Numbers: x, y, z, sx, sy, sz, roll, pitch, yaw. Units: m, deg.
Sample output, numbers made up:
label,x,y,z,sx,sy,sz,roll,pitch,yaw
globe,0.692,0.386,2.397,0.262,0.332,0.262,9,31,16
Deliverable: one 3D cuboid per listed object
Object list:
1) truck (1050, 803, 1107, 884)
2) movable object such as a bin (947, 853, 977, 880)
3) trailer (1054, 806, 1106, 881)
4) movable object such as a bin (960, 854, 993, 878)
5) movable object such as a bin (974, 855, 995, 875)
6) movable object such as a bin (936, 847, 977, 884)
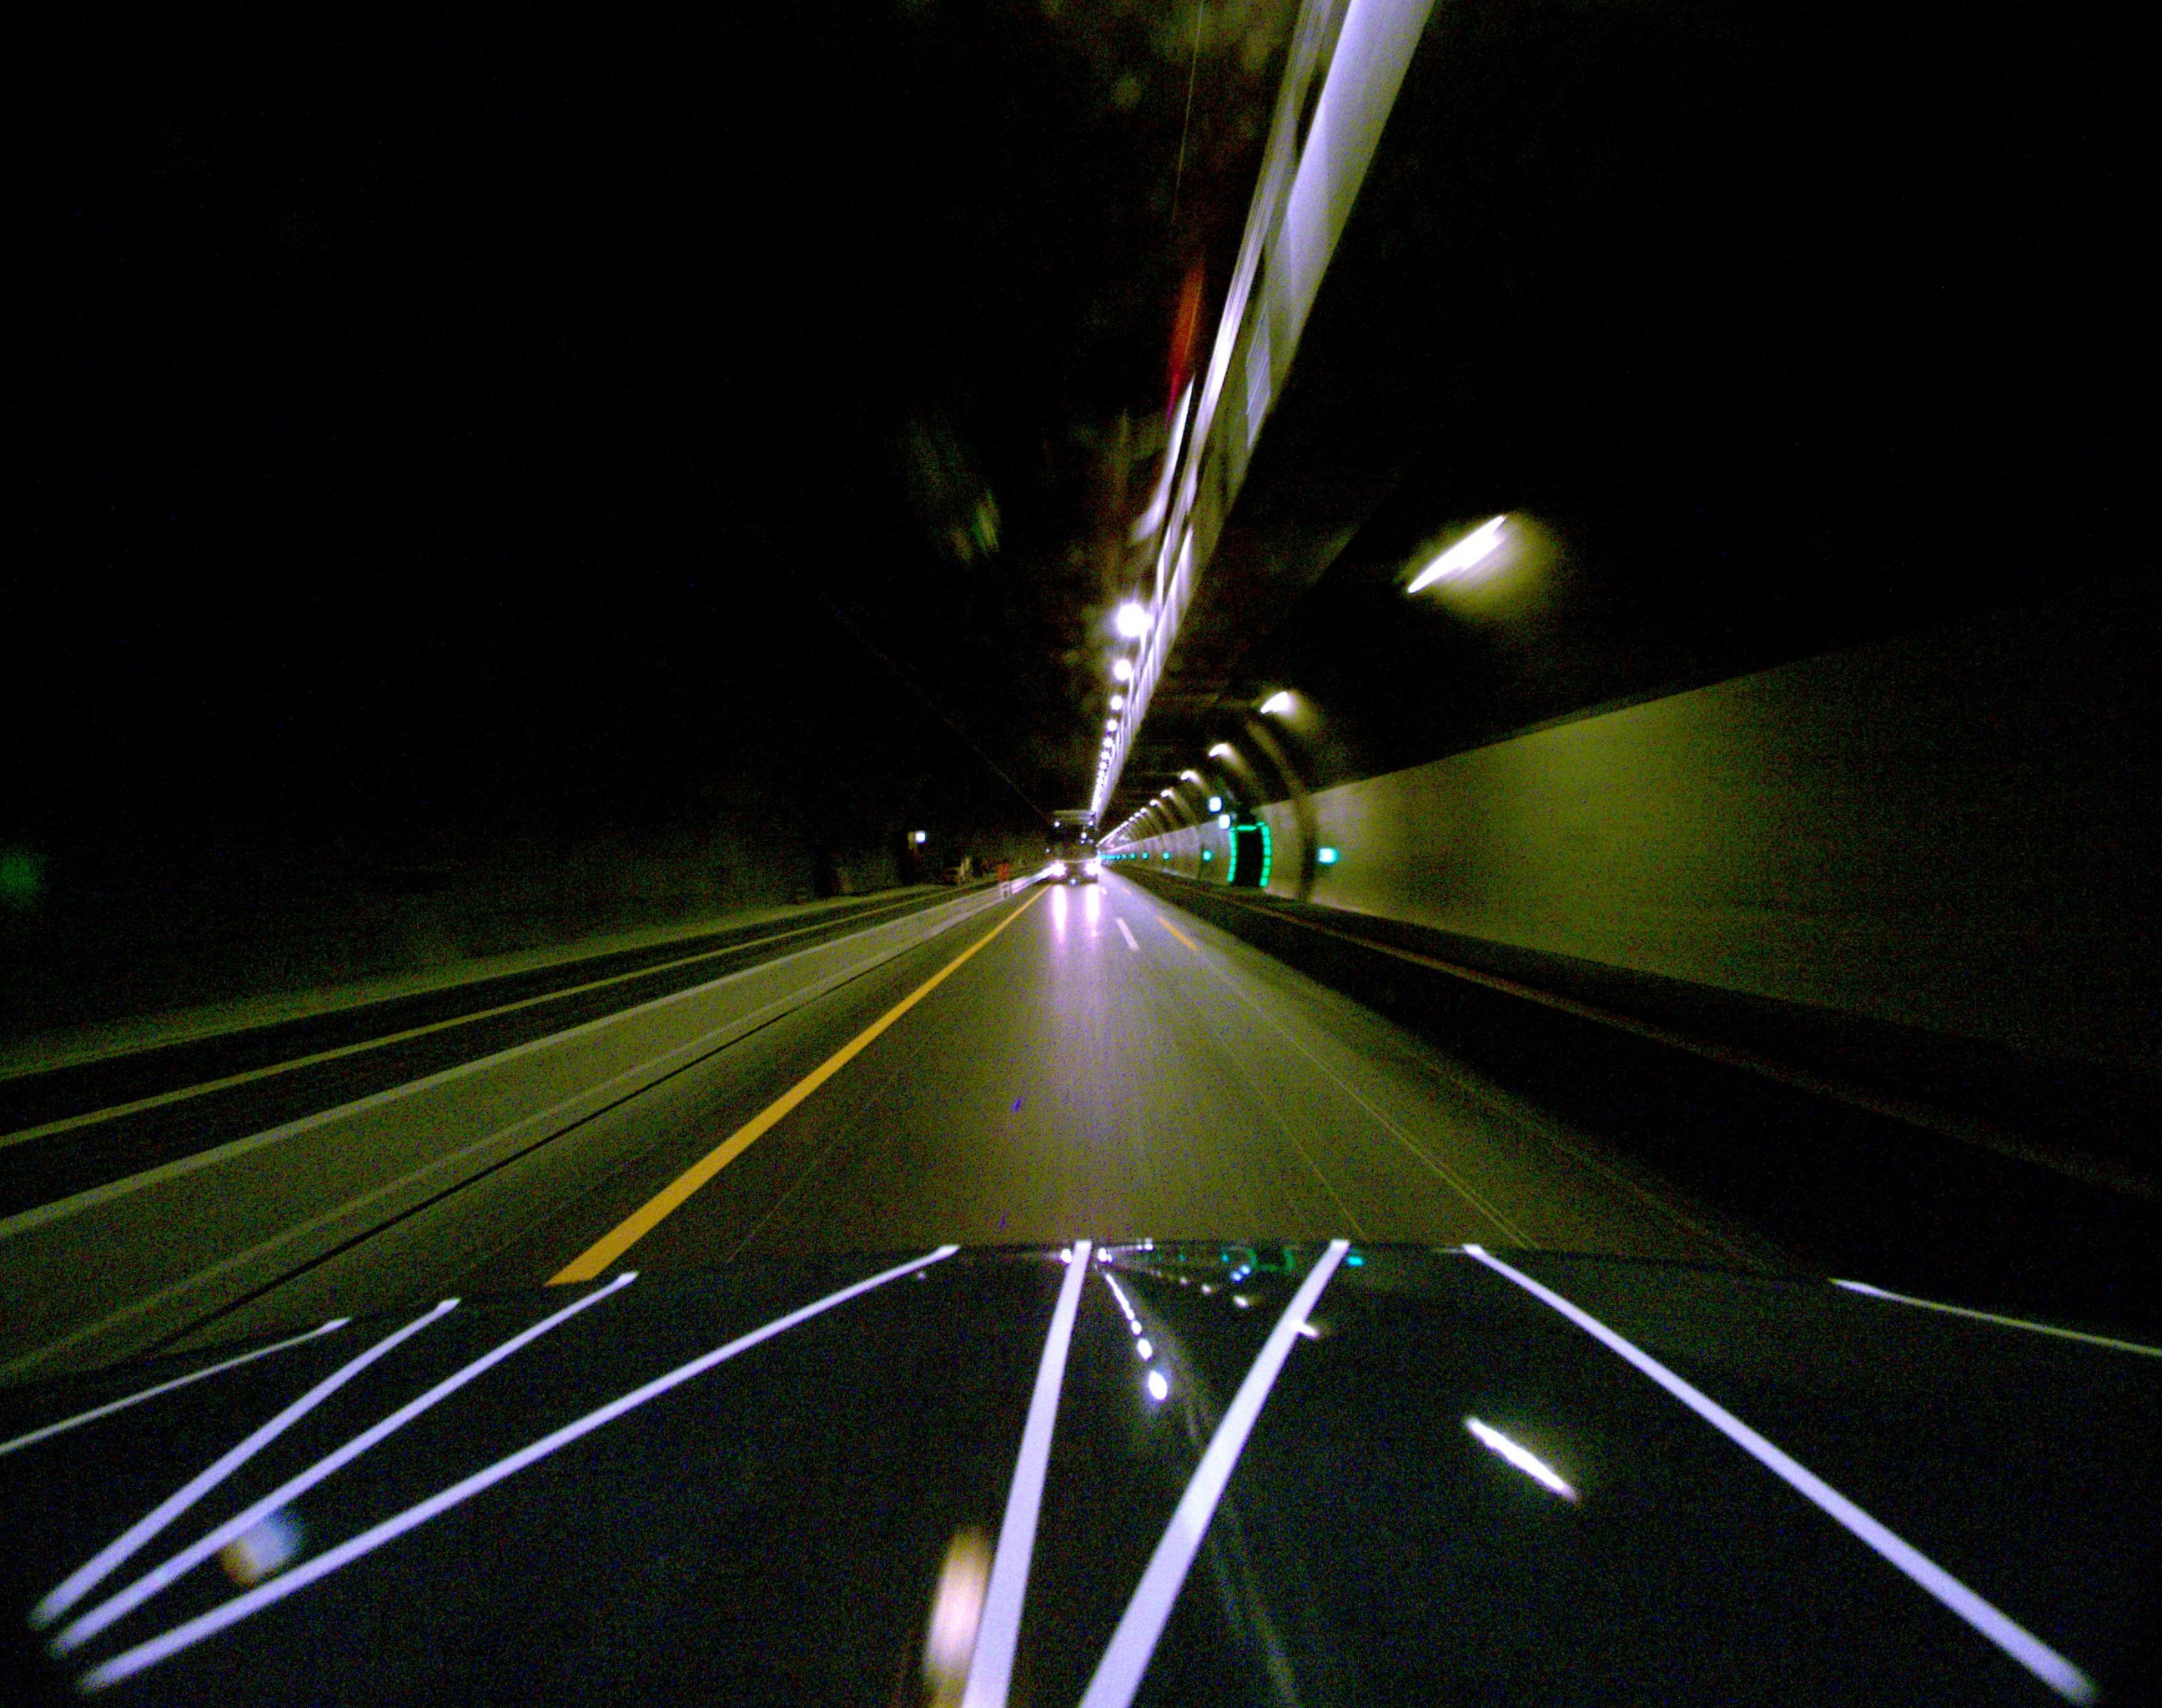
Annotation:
label,x,y,z,sx,sy,sz,roll,pitch,yaw
truck,-0.089,-0.597,44.460,2.950,4.338,6.675,-2,1,1
movable object such as a bin,-8.215,0.843,52.740,1.560,1.699,3.054,-2,1,0
trailer,0.006,-0.671,49.884,2.939,4.316,10.051,-2,1,1
movable object such as a bin,-7.950,0.895,58.300,1.865,1.665,4.501,2,0,0
movable object such as a bin,-8.180,0.898,64.692,1.306,1.584,3.055,2,0,0
movable object such as a bin,-7.649,0.629,46.965,1.688,2.133,4.627,-2,1,0
